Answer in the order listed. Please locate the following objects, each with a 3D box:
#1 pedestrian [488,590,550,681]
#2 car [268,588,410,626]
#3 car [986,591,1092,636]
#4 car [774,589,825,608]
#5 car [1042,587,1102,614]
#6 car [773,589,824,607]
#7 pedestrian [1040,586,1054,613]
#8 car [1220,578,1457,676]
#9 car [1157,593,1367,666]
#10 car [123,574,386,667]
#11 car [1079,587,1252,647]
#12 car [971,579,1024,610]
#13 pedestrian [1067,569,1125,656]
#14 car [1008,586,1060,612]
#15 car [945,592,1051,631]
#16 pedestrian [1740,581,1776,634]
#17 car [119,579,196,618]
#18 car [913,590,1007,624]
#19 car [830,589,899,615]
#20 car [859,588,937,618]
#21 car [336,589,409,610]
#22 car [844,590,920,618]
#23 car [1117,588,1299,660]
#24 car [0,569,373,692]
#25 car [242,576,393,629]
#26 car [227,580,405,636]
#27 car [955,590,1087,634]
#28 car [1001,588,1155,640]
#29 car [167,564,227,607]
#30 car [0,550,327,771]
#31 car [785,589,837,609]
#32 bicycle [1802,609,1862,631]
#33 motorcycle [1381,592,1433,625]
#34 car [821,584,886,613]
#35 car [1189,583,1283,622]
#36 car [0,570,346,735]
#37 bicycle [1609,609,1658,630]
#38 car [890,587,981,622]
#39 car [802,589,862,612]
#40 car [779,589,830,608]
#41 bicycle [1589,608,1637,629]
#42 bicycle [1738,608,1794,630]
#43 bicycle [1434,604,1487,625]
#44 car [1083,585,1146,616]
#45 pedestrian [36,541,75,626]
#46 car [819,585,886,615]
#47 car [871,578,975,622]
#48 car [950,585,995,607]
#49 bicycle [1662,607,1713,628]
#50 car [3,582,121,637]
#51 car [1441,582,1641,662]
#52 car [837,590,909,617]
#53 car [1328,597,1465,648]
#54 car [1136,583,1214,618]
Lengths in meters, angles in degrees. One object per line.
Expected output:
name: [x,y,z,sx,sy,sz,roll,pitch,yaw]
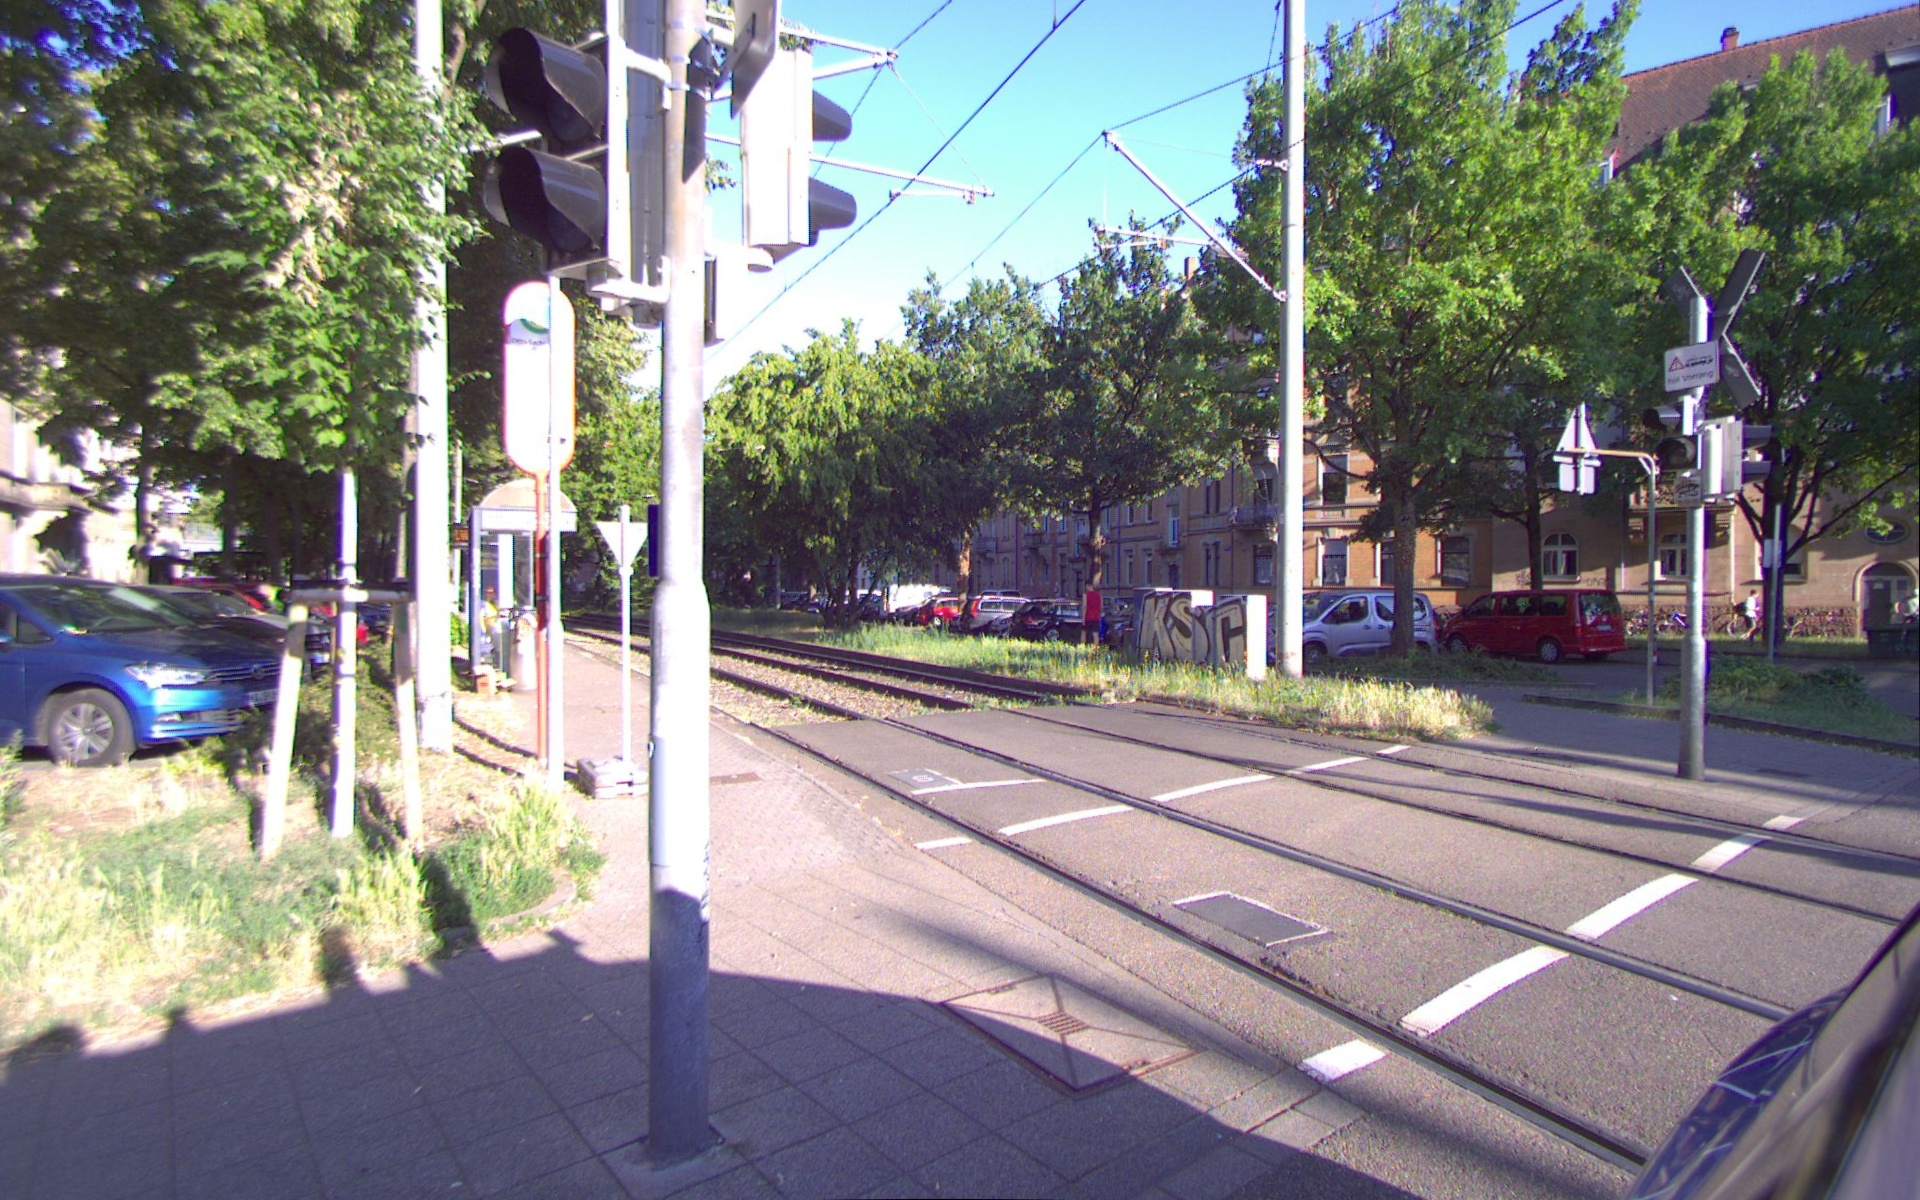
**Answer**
pedestrian: [-6.585,0.505,15.091,0.808,1.288,0.878,0,0,-26]
car: [-22.949,0.258,37.465,4.204,1.295,1.808,1,0,3]
car: [2.772,0.460,35.822,3.338,1.533,1.722,0,0,-16]
car: [-13.599,-0.165,85.954,4.046,1.541,1.688,1,0,-18]
car: [6.250,-0.015,56.977,1.732,1.401,4.299,-2,1,-17]
car: [-14.110,-0.187,88.200,4.176,1.507,1.688,1,0,-18]
pedestrian: [5.791,-0.040,67.187,0.661,1.739,0.723,-2,1,-18]
car: [8.093,0.528,21.734,4.457,1.938,1.955,0,1,-16]
car: [7.212,0.663,24.291,4.457,1.592,1.955,0,1,-16]
car: [-14.484,0.382,20.863,4.483,1.743,1.922,1,0,12]
car: [5.885,0.458,29.121,4.457,1.592,1.955,0,1,-16]
car: [2.440,-0.392,66.999,1.873,1.906,4.735,-2,1,-19]
pedestrian: [3.134,0.283,23.465,0.886,1.943,1.152,1,0,-18]
car: [4.462,-0.097,61.724,1.732,1.456,3.896,-2,1,-19]
car: [1.525,0.460,40.983,3.915,1.479,1.688,1,0,-18]
pedestrian: [26.528,0.234,33.647,0.907,1.739,0.666,0,1,38]
car: [-35.008,-0.090,44.257,1.960,1.587,4.617,1,0,-30]
car: [0.000,0.316,45.811,3.915,1.441,1.688,1,0,-18]
car: [-5.867,0.133,62.055,3.915,1.507,1.688,1,0,-18]
car: [-3.354,0.169,54.556,3.915,1.573,1.688,1,0,-18]
car: [-39.660,-0.045,68.367,3.926,1.295,1.747,1,0,3]
car: [-4.389,0.206,56.846,3.915,1.507,1.688,1,0,-18]
car: [6.535,0.576,26.676,4.357,1.712,1.954,0,1,-24]
car: [-10.848,0.377,13.929,4.469,1.506,1.928,1,0,3]
car: [-22.122,0.086,34.927,4.208,1.717,1.806,1,0,6]
car: [-18.810,0.222,29.639,4.208,1.506,1.806,1,0,6]
car: [2.305,0.430,38.563,4.616,1.592,2.005,0,1,-16]
car: [3.885,0.442,33.487,4.616,1.592,2.005,0,1,-16]
car: [-40.797,-0.754,54.220,1.960,2.200,4.617,1,0,-30]
car: [-8.213,0.488,8.798,4.336,1.709,1.742,-1,0,0]
car: [-11.975,-0.077,81.320,3.915,1.507,1.688,1,0,-18]
bicycle: [29.871,0.681,34.697,1.501,0.741,0.364,-1,-1,36]
motorcycle: [18.926,0.372,42.826,1.887,1.370,0.799,0,-1,36]
car: [-7.009,-0.081,66.555,3.915,1.855,1.688,1,0,-18]
car: [11.323,0.072,41.866,1.745,1.493,4.280,-2,1,-16]
car: [-9.769,0.517,11.490,4.469,1.655,1.928,1,0,3]
bicycle: [25.074,0.716,37.671,1.501,0.741,0.364,1,1,36]
car: [-1.183,0.203,47.847,3.916,1.600,1.769,1,0,-21]
car: [-9.054,0.033,71.635,3.915,1.507,1.688,1,0,-18]
car: [-12.865,-0.107,83.579,3.915,1.507,1.688,1,0,-18]
bicycle: [24.753,0.707,38.385,1.501,0.741,0.364,1,1,36]
bicycle: [28.527,0.677,35.840,1.501,0.741,0.364,1,1,36]
bicycle: [20.642,0.604,41.766,1.887,0.858,0.519,0,0,37]
car: [7.890,0.007,51.975,1.654,1.493,3.717,-2,1,-18]
pedestrian: [-32.001,-0.580,35.833,0.902,2.984,0.701,0,0,-31]
car: [-6.793,0.009,64.067,3.915,1.855,1.688,1,0,-18]
car: [-1.844,0.009,50.570,4.757,2.064,2.160,1,0,-18]
car: [0.832,-0.312,72.531,1.843,1.459,4.402,-2,1,-19]
bicycle: [26.586,0.640,37.019,1.501,0.741,0.364,1,1,36]
car: [-27.940,0.264,31.653,1.960,1.587,4.246,1,0,-31]
car: [15.806,0.525,27.864,1.745,1.958,4.782,-2,1,-19]
car: [-5.124,0.213,59.370,3.915,1.507,1.688,1,0,-18]
car: [14.155,0.694,33.107,1.745,1.451,4.280,-2,1,-16]
car: [9.807,0.011,46.514,1.654,1.493,3.890,-2,1,-20]
